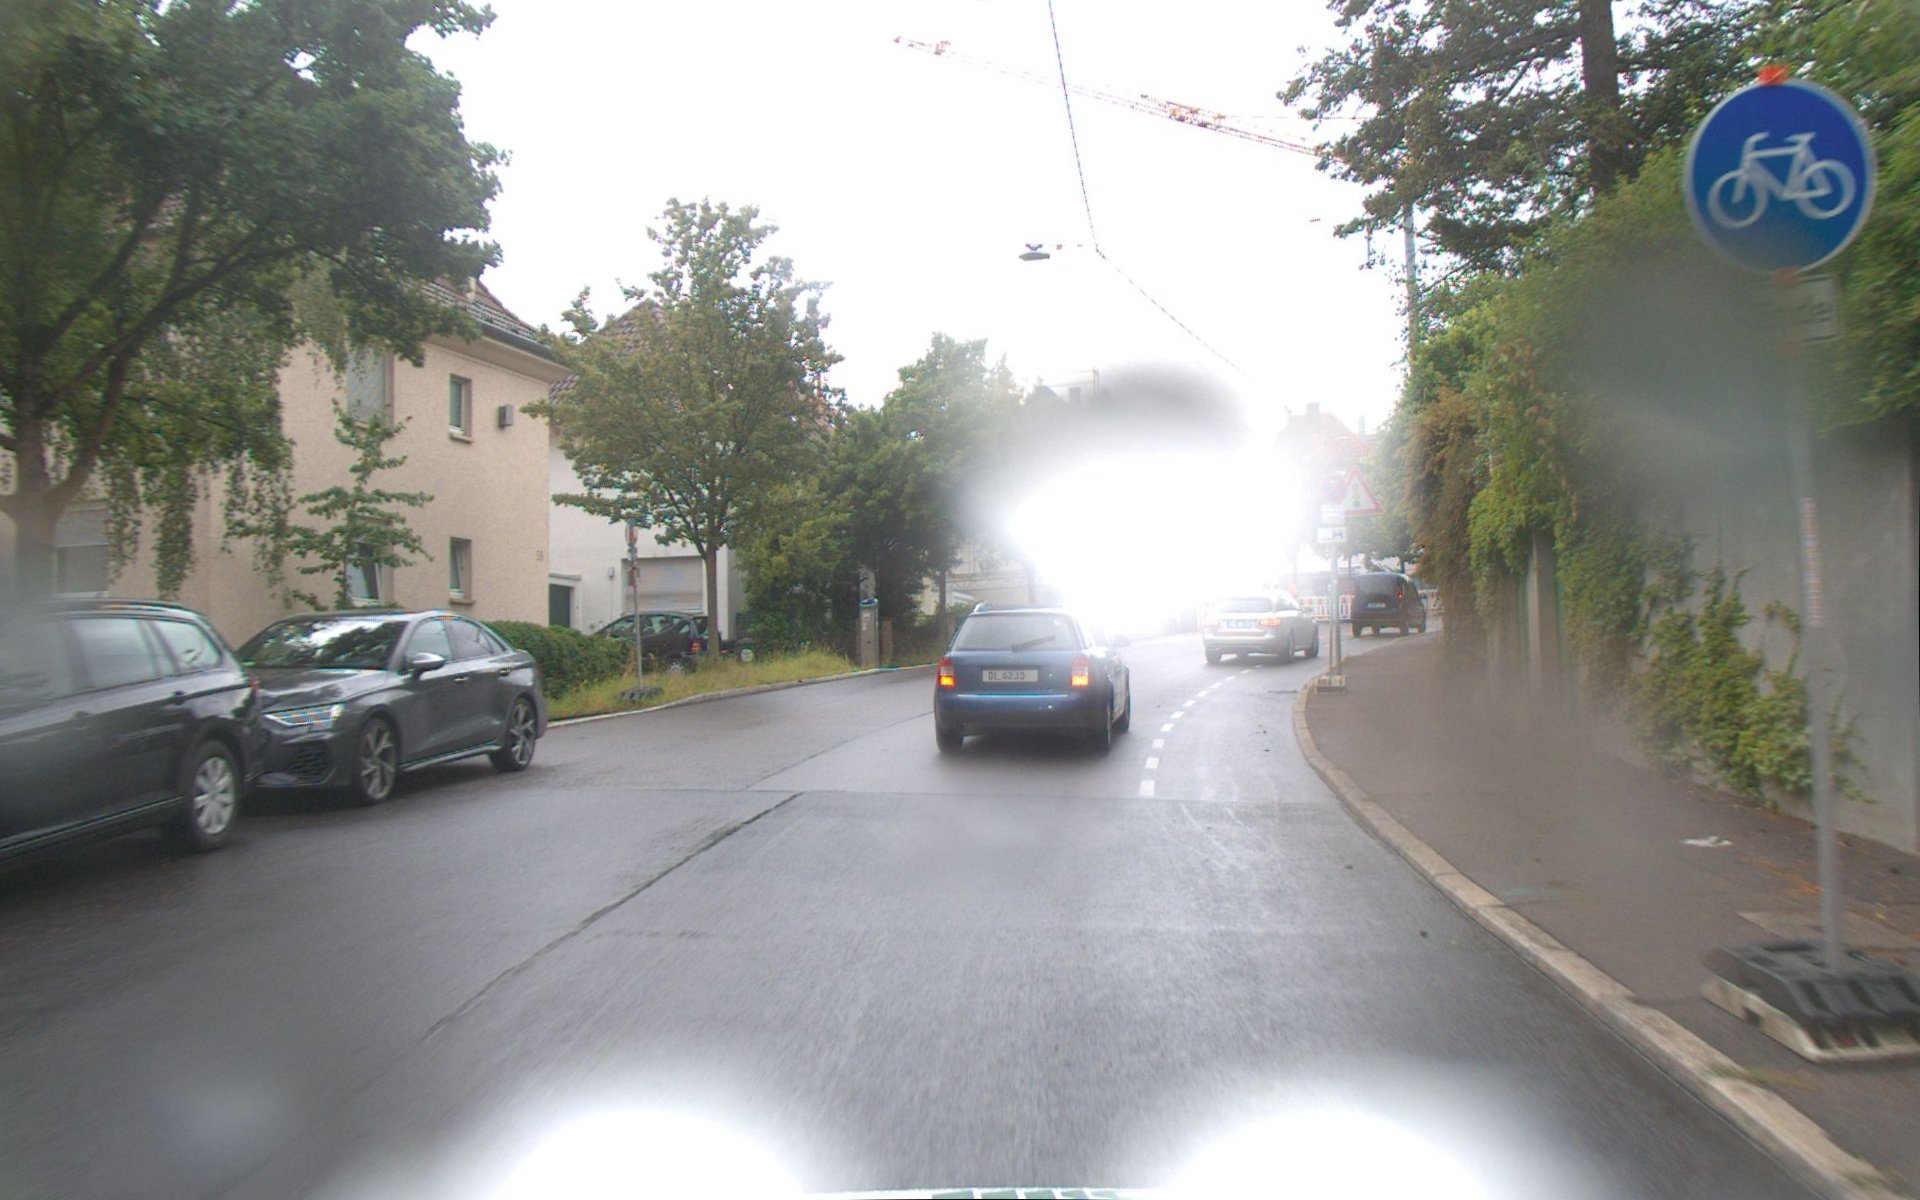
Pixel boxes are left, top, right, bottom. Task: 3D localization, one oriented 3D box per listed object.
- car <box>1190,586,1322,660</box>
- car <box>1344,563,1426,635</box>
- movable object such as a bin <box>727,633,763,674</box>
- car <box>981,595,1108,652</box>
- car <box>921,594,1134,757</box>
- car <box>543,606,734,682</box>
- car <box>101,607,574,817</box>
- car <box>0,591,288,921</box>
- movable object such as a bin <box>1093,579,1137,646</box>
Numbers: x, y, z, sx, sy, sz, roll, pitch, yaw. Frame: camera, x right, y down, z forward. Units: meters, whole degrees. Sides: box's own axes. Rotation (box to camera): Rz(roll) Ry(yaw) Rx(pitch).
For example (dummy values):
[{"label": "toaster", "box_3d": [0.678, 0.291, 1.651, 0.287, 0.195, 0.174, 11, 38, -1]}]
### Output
[{"label": "car", "box_3d": [6.278, 0.453, 34.721, 1.870, 1.412, 4.350, -1, 0, 22]}, {"label": "car", "box_3d": [12.793, -0.043, 49.657, 1.695, 1.927, 4.055, -6, -2, 22]}, {"label": "movable object such as a bin", "box_3d": [-5.129, 1.268, 39.392, 0.655, 0.937, 0.592, -1, 0, 18]}, {"label": "car", "box_3d": [3.089, 0.868, 60.094, 4.110, 1.632, 1.951, -6, -2, 19]}, {"label": "car", "box_3d": [0.820, 0.679, 17.129, 1.739, 1.464, 4.003, 0, 0, 9]}, {"label": "car", "box_3d": [-7.371, 0.969, 37.988, 3.857, 1.570, 1.865, 1, 1, 17]}, {"label": "car", "box_3d": [-4.794, 0.774, 13.551, 1.670, 1.406, 4.534, 0, 0, 8]}, {"label": "car", "box_3d": [-5.223, 0.721, 8.273, 1.696, 1.510, 4.531, 0, 0, 3]}, {"label": "movable object such as a bin", "box_3d": [6.120, 0.472, 65.186, 1.285, 2.549, 1.386, -3, 0, 20]}]
